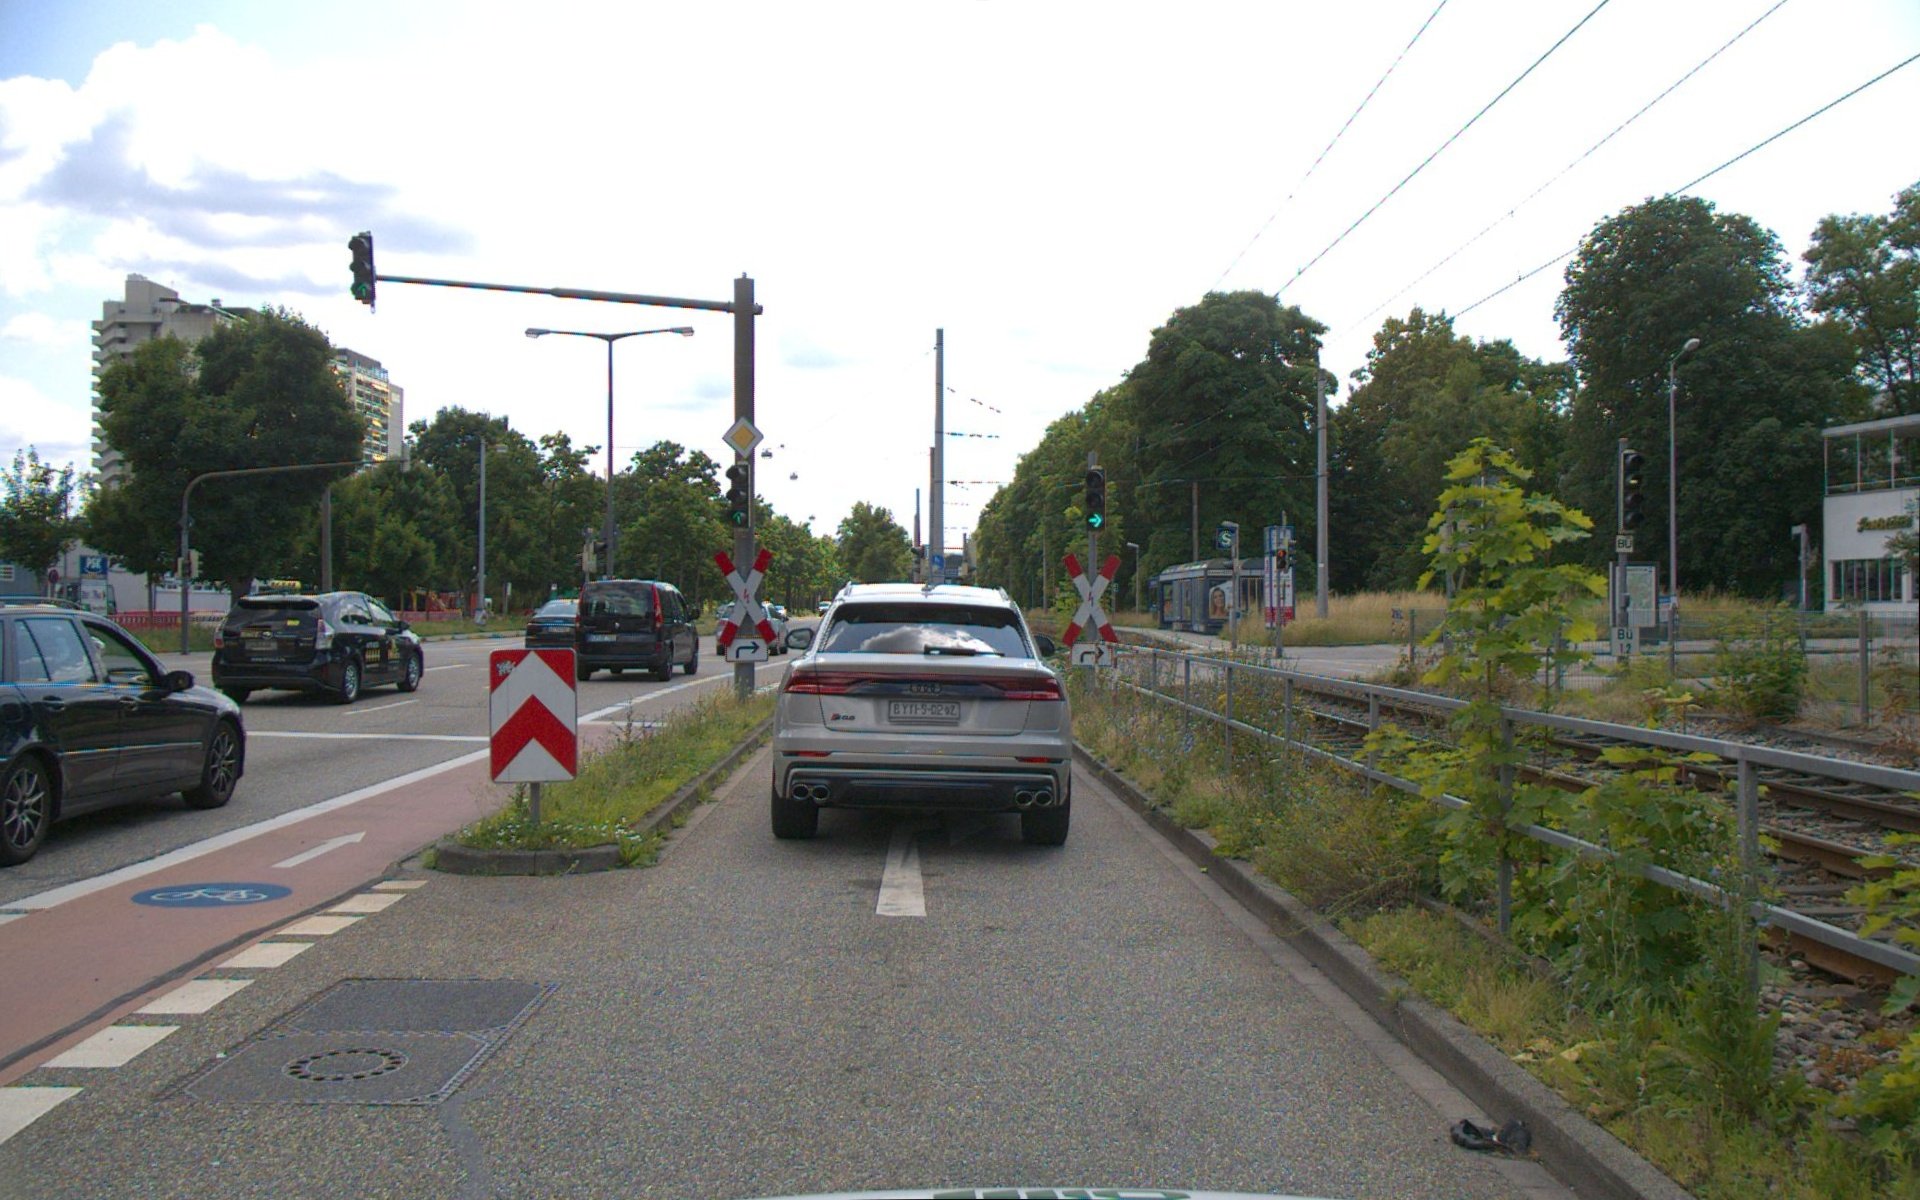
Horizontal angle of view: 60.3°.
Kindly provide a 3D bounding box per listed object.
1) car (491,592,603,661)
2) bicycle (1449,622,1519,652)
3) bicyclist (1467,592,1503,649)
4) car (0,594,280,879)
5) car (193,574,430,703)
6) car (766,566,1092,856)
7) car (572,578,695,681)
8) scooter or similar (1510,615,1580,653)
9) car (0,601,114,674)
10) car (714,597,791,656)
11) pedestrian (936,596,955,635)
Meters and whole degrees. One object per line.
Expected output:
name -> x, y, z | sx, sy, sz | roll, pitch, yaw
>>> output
car -> -9.700, 0.616, 39.119 | 1.827, 1.531, 3.997 | 1, -1, -4
bicycle -> 14.095, 0.999, 44.505 | 1.686, 0.778, 0.555 | 1, -1, 1
bicyclist -> 14.135, 0.551, 44.541 | 0.821, 1.501, 0.455 | 0, -1, 1
car -> -5.922, 0.715, 10.187 | 1.719, 1.491, 4.431 | 1, -1, -2
car -> -9.397, 0.532, 24.363 | 1.749, 1.697, 4.340 | 1, -1, 0
car -> -0.217, 0.689, 12.251 | 1.941, 1.713, 4.573 | 1, -1, -1
car -> -6.158, 0.546, 31.588 | 1.724, 1.808, 3.906 | 1, -1, -3
scooter or similar -> 15.717, 0.902, 44.447 | 1.542, 0.997, 0.962 | -1, -1, 1
car -> -19.796, 0.751, 34.873 | 1.764, 1.457, 4.494 | 0, 0, -3
car -> -5.818, 0.724, 46.703 | 1.750, 1.552, 4.299 | 1, -1, -2
pedestrian -> -0.574, 0.601, 64.518 | 0.642, 1.540, 0.716 | 0, 0, -10
